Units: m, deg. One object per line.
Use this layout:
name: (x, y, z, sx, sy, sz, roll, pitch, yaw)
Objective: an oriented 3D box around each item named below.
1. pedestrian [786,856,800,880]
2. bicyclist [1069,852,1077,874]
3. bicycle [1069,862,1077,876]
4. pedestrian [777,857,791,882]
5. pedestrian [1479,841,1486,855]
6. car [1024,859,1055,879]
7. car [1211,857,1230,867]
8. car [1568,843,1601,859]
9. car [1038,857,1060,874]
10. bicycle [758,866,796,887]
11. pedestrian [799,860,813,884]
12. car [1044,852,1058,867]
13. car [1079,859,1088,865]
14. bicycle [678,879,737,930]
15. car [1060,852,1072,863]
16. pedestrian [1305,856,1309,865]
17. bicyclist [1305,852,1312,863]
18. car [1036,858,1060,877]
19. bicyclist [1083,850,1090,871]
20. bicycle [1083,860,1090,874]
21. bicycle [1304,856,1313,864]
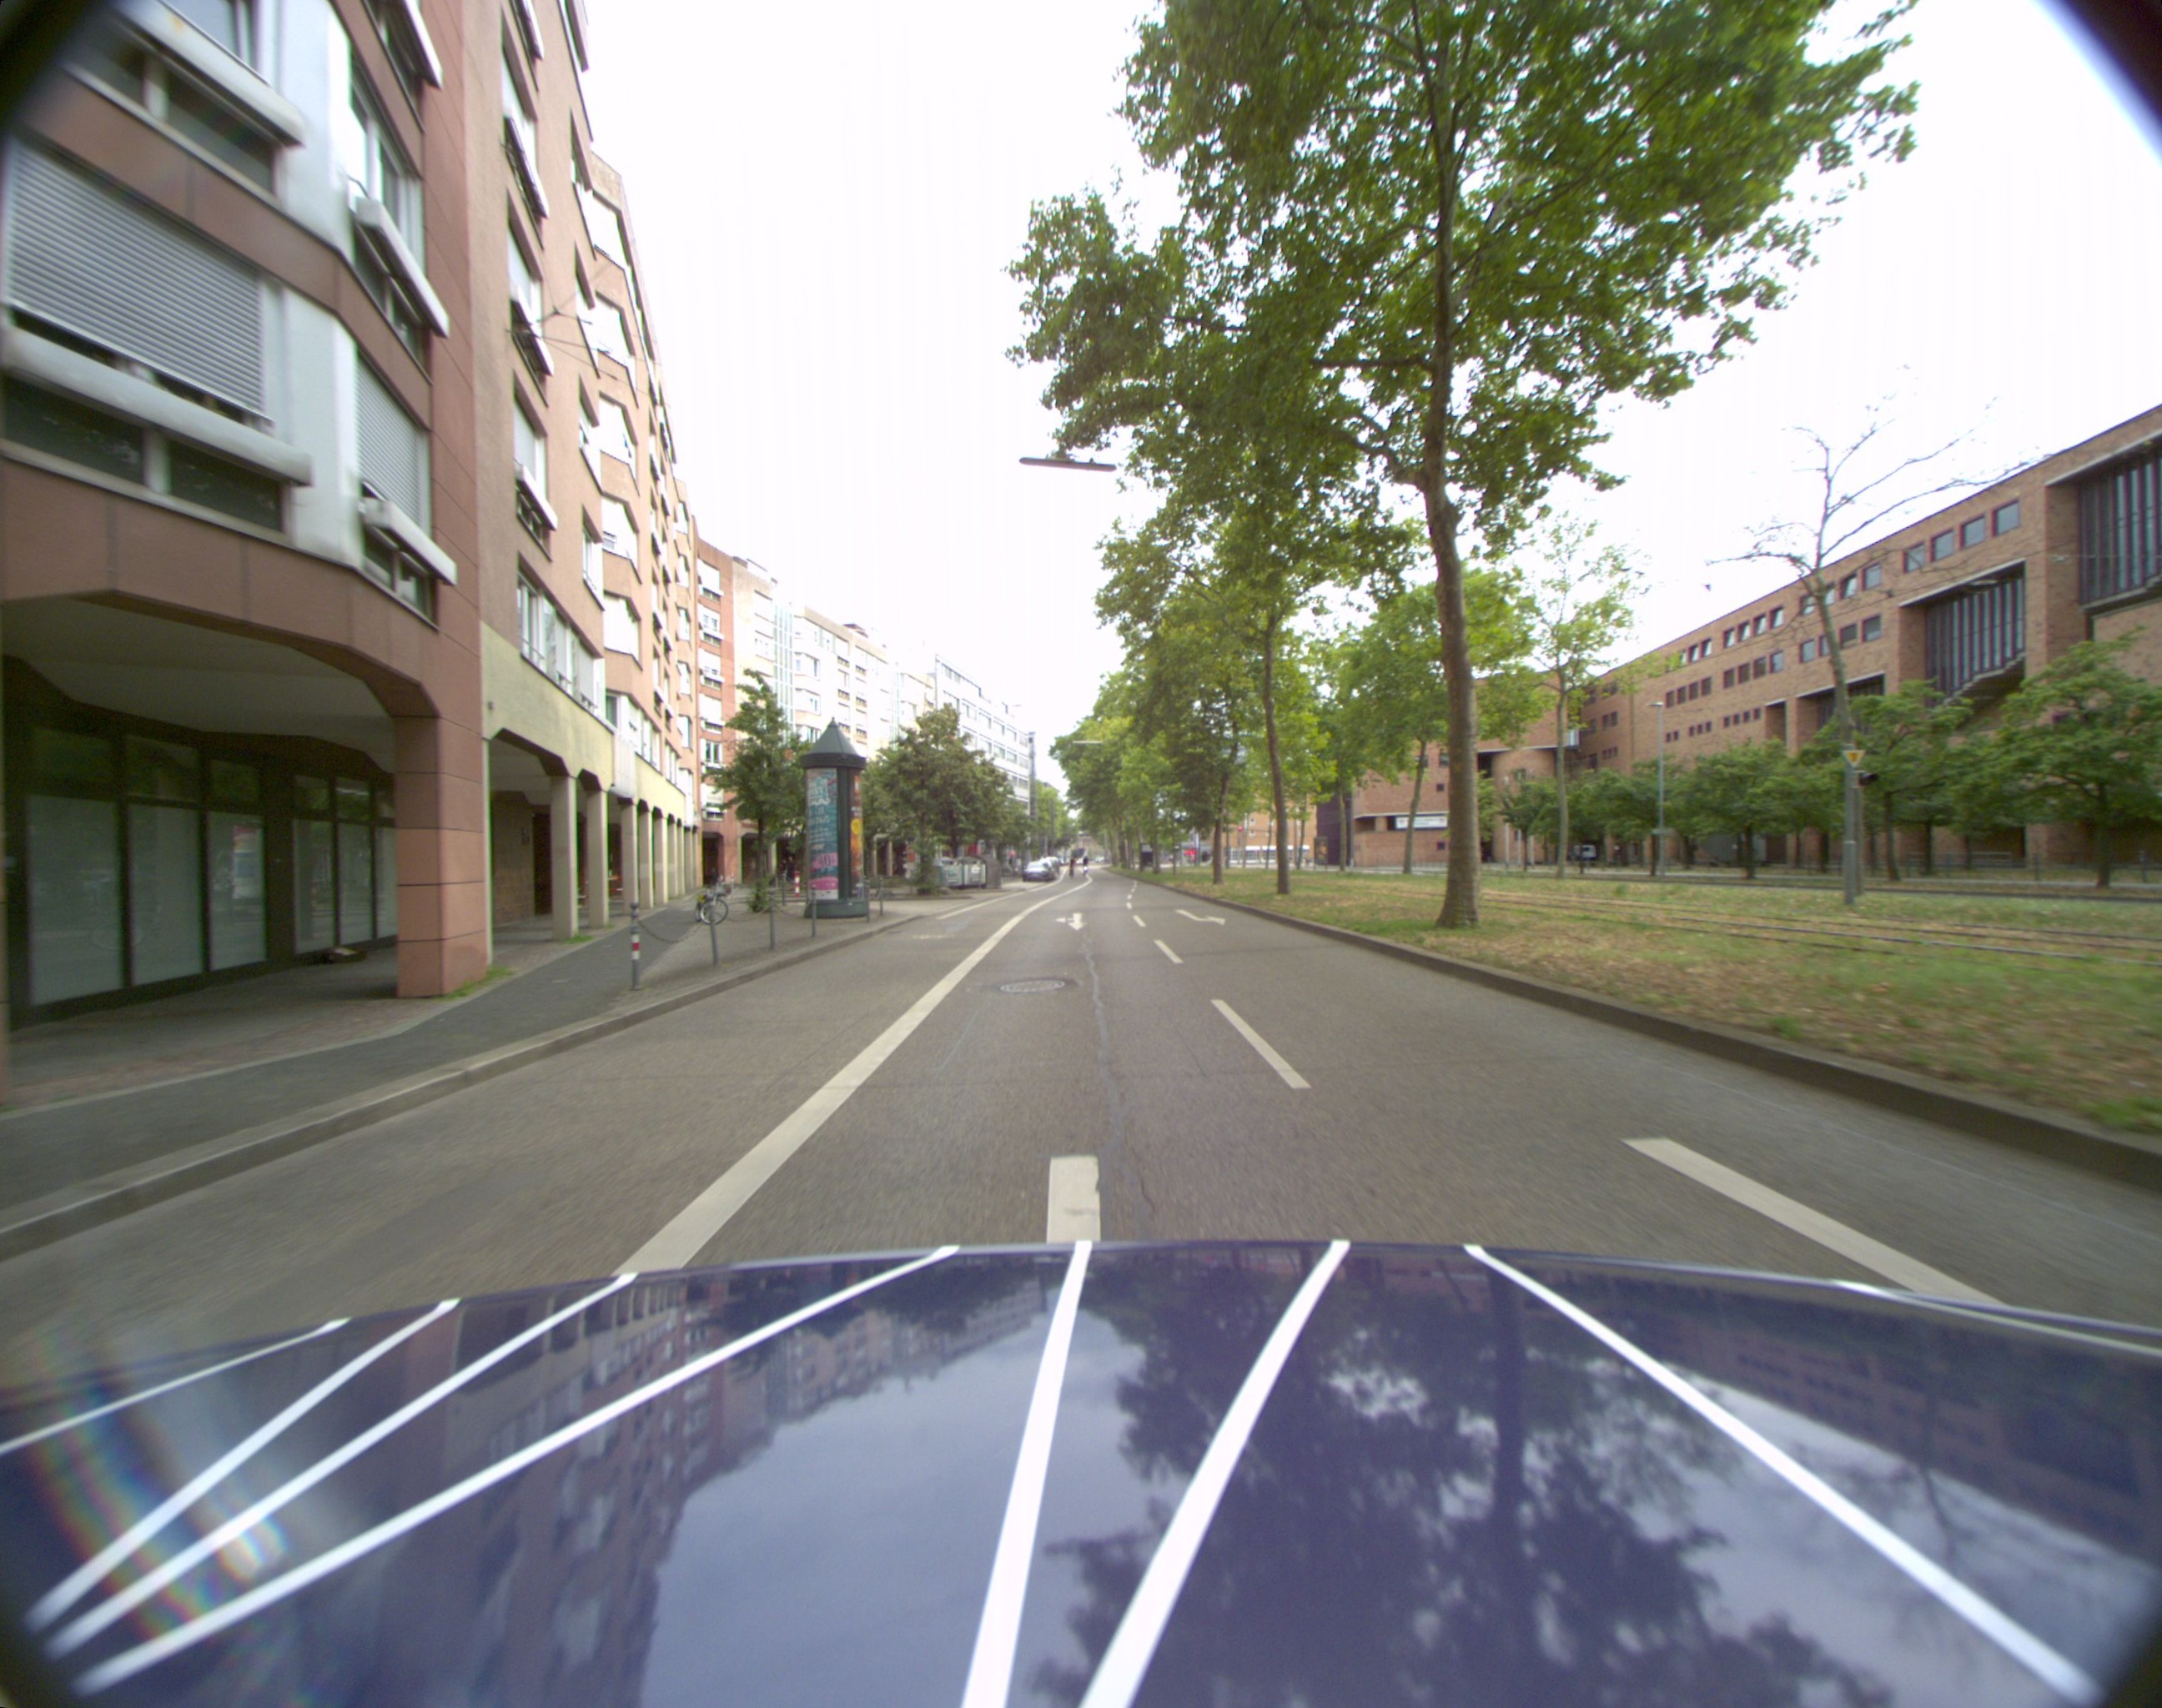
pedestrian: (-19.873, 0.985, 52.469, 0.606, 1.653, 0.682, -1, 0, 9)
bicyclist: (-0.658, 0.723, 62.650, 0.591, 1.757, 1.035, 0, 0, 0)
bicycle: (-0.660, 1.222, 62.572, 0.595, 1.132, 2.091, 0, 0, 0)
pedestrian: (-20.540, 1.075, 52.587, 0.606, 1.653, 0.682, -1, 0, 9)
pedestrian: (43.753, -0.617, 82.850, 0.508, 1.523, 0.521, -1, 0, 15)
car: (-2.990, 1.078, 55.757, 1.821, 1.434, 4.666, 0, 0, 2)
car: (20.832, 1.227, 113.533, 1.788, 1.413, 4.658, -1, 0, -2)
car: (58.732, -0.288, 88.698, 1.896, 1.797, 4.004, -1, 0, 11)
car: (-3.175, 1.121, 77.102, 1.865, 1.643, 4.164, 0, 0, 3)
bicycle: (-17.449, 1.271, 43.655, 1.968, 1.106, 0.595, -1, 0, -45)
pedestrian: (-18.946, 1.235, 52.316, 0.534, 1.653, 0.852, -1, 0, 12)
car: (-4.005, 0.722, 100.877, 1.832, 1.853, 4.647, -1, 0, -3)
car: (0.722, 1.951, 183.544, 1.845, 1.369, 3.835, -1, -1, 5)
bicycle: (-9.058, 1.191, 18.408, 1.660, 1.122, 0.672, 0, 1, 41)
car: (-3.553, 0.832, 181.640, 2.174, 2.441, 6.998, -1, 0, 3)
pedestrian: (43.435, 1.238, 146.068, 0.540, 1.721, 0.543, -1, 0, -2)
bicyclist: (31.873, 0.465, 106.437, 0.665, 1.581, 0.984, -1, 0, 3)
car: (-2.653, 1.053, 61.794, 1.744, 1.510, 4.401, 0, 0, 1)
bicyclist: (0.487, 0.567, 65.713, 0.591, 1.760, 1.035, 0, 0, 0)
bicycle: (0.492, 1.110, 65.669, 0.595, 1.132, 1.858, 0, 0, 0)
bicycle: (31.885, 0.851, 106.455, 0.669, 1.078, 2.094, -1, 0, 3)
